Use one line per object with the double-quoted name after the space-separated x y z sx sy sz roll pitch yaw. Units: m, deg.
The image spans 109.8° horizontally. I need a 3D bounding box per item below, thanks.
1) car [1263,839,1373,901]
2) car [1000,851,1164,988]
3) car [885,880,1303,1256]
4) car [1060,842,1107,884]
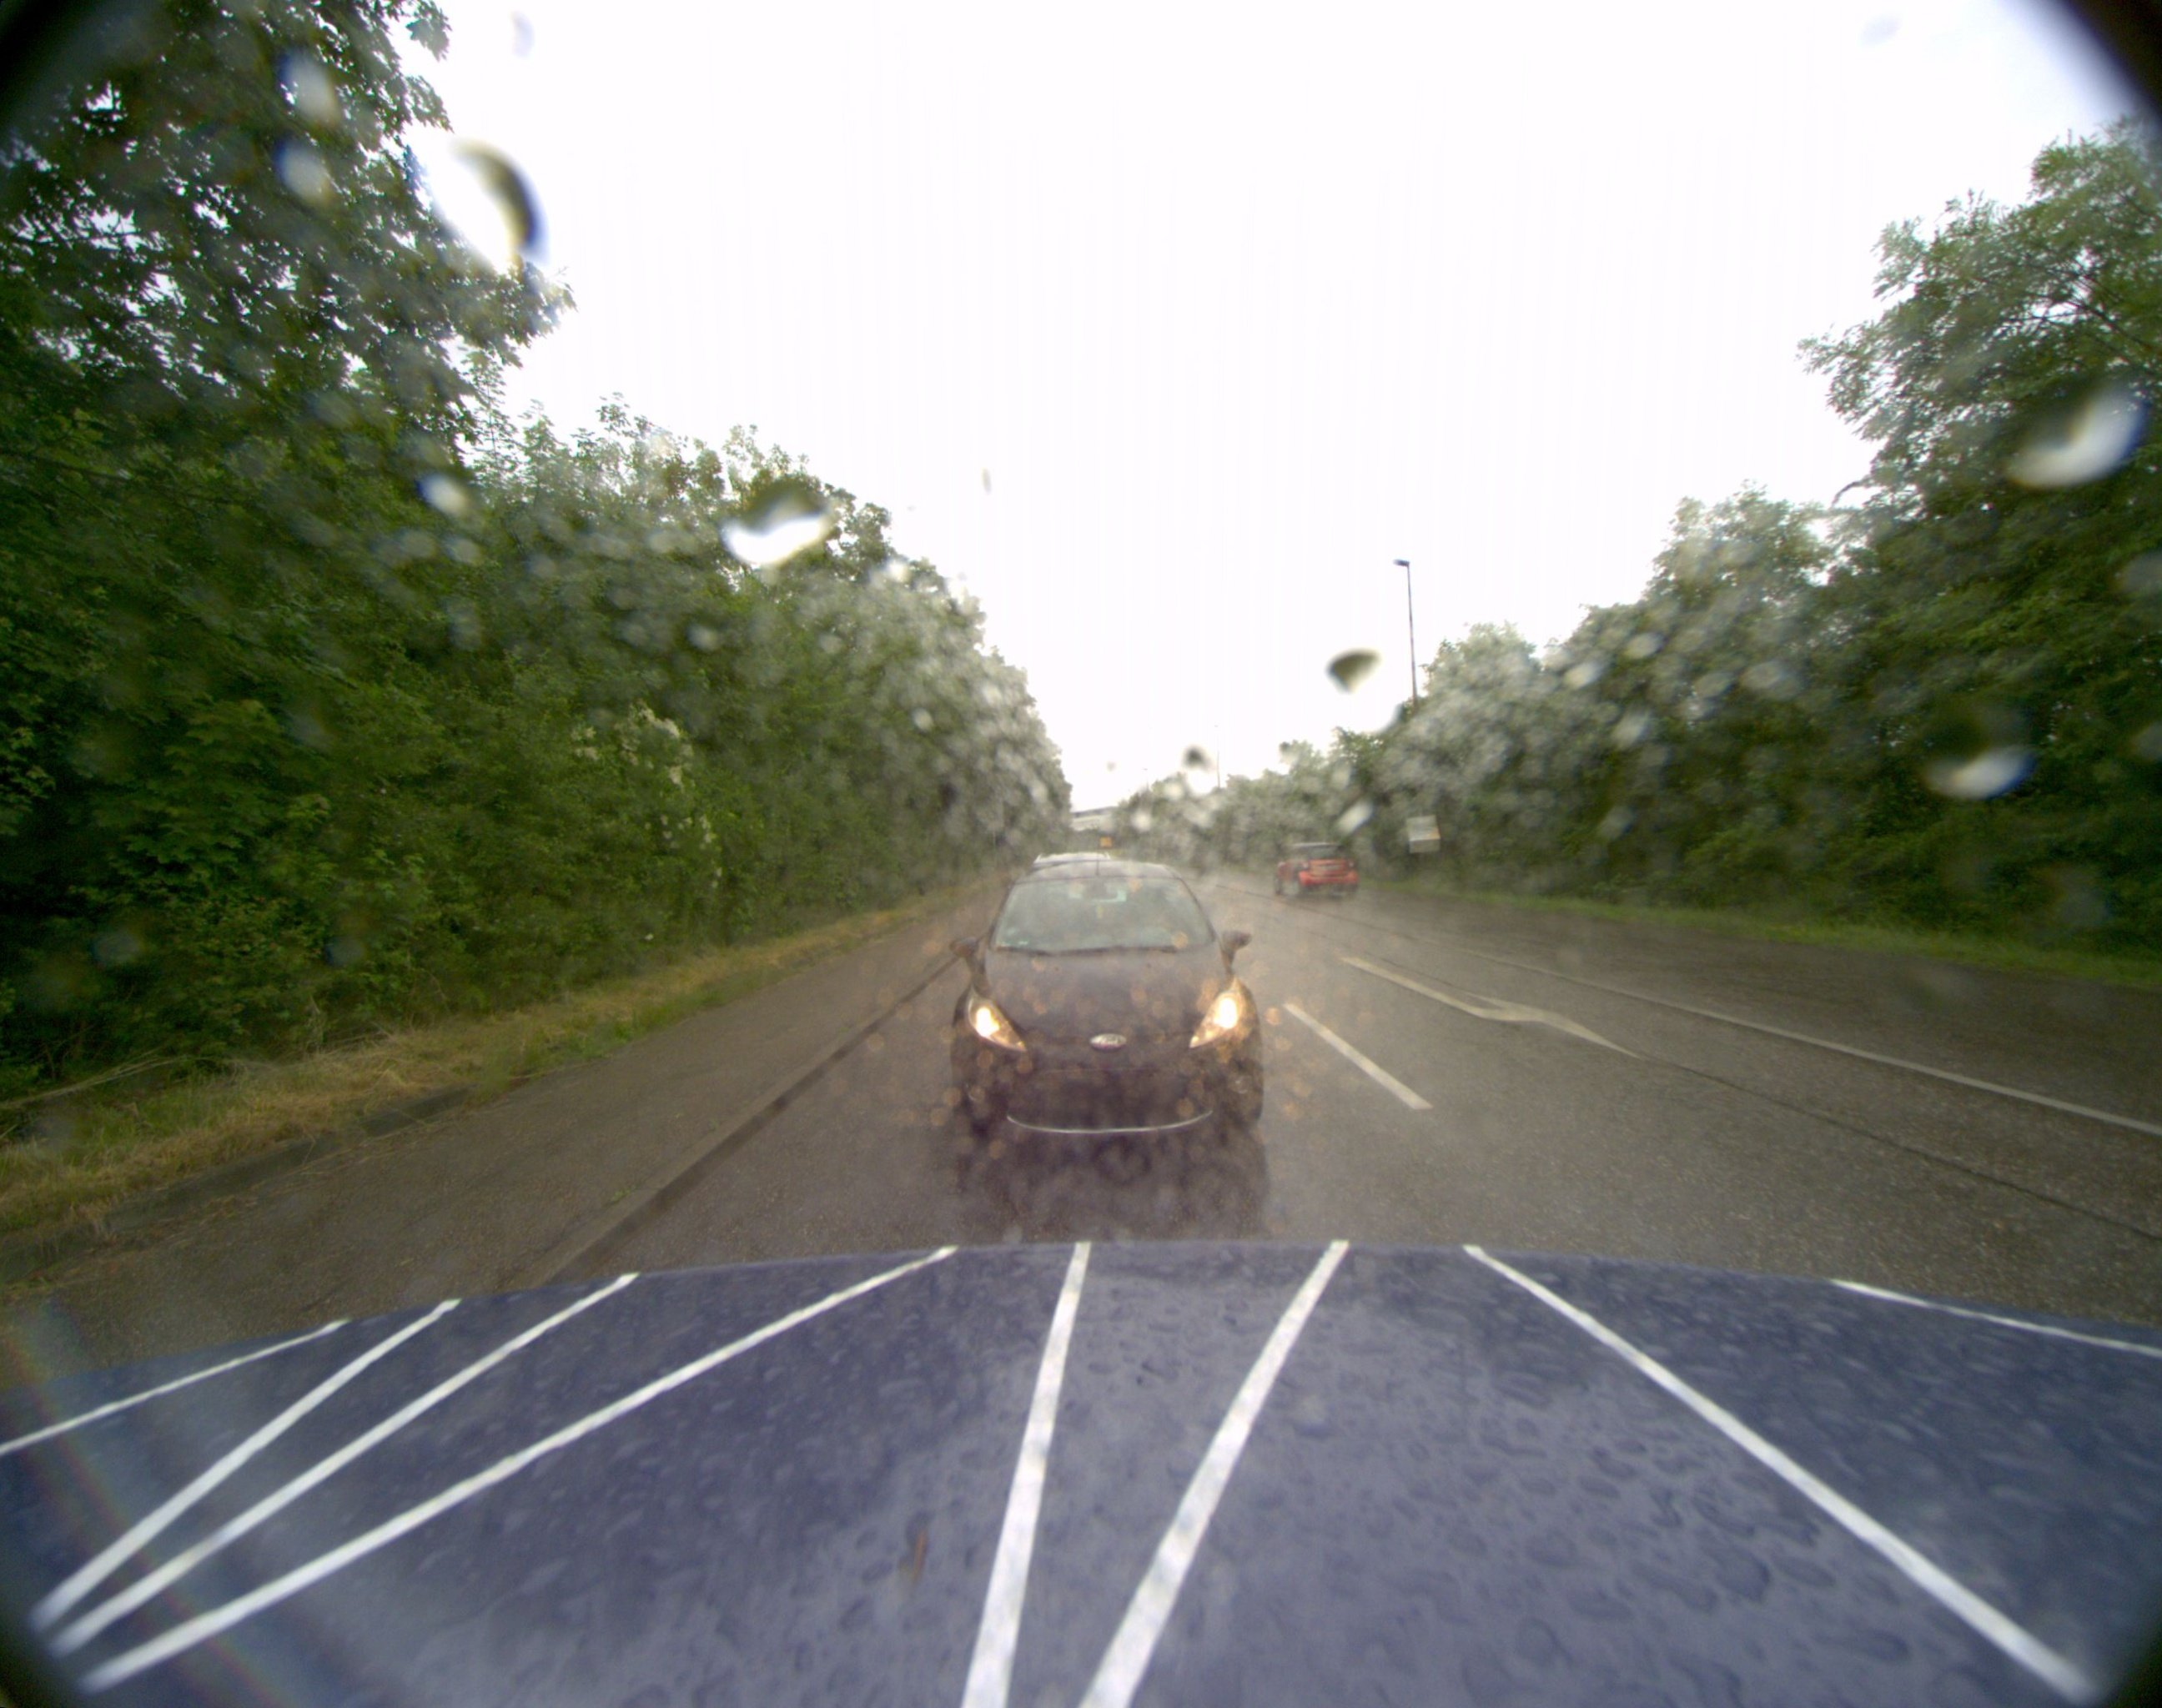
6.821 0.398 22.319 1.998 1.576 3.999 -2 1 1 "car"
0.035 0.812 11.495 1.998 1.576 3.999 -2 1 1 "car"
0.087 1.045 5.590 1.839 1.404 4.341 -2 1 1 "car"
0.126 0.395 35.875 1.998 1.778 4.000 -2 0 0 "car"
